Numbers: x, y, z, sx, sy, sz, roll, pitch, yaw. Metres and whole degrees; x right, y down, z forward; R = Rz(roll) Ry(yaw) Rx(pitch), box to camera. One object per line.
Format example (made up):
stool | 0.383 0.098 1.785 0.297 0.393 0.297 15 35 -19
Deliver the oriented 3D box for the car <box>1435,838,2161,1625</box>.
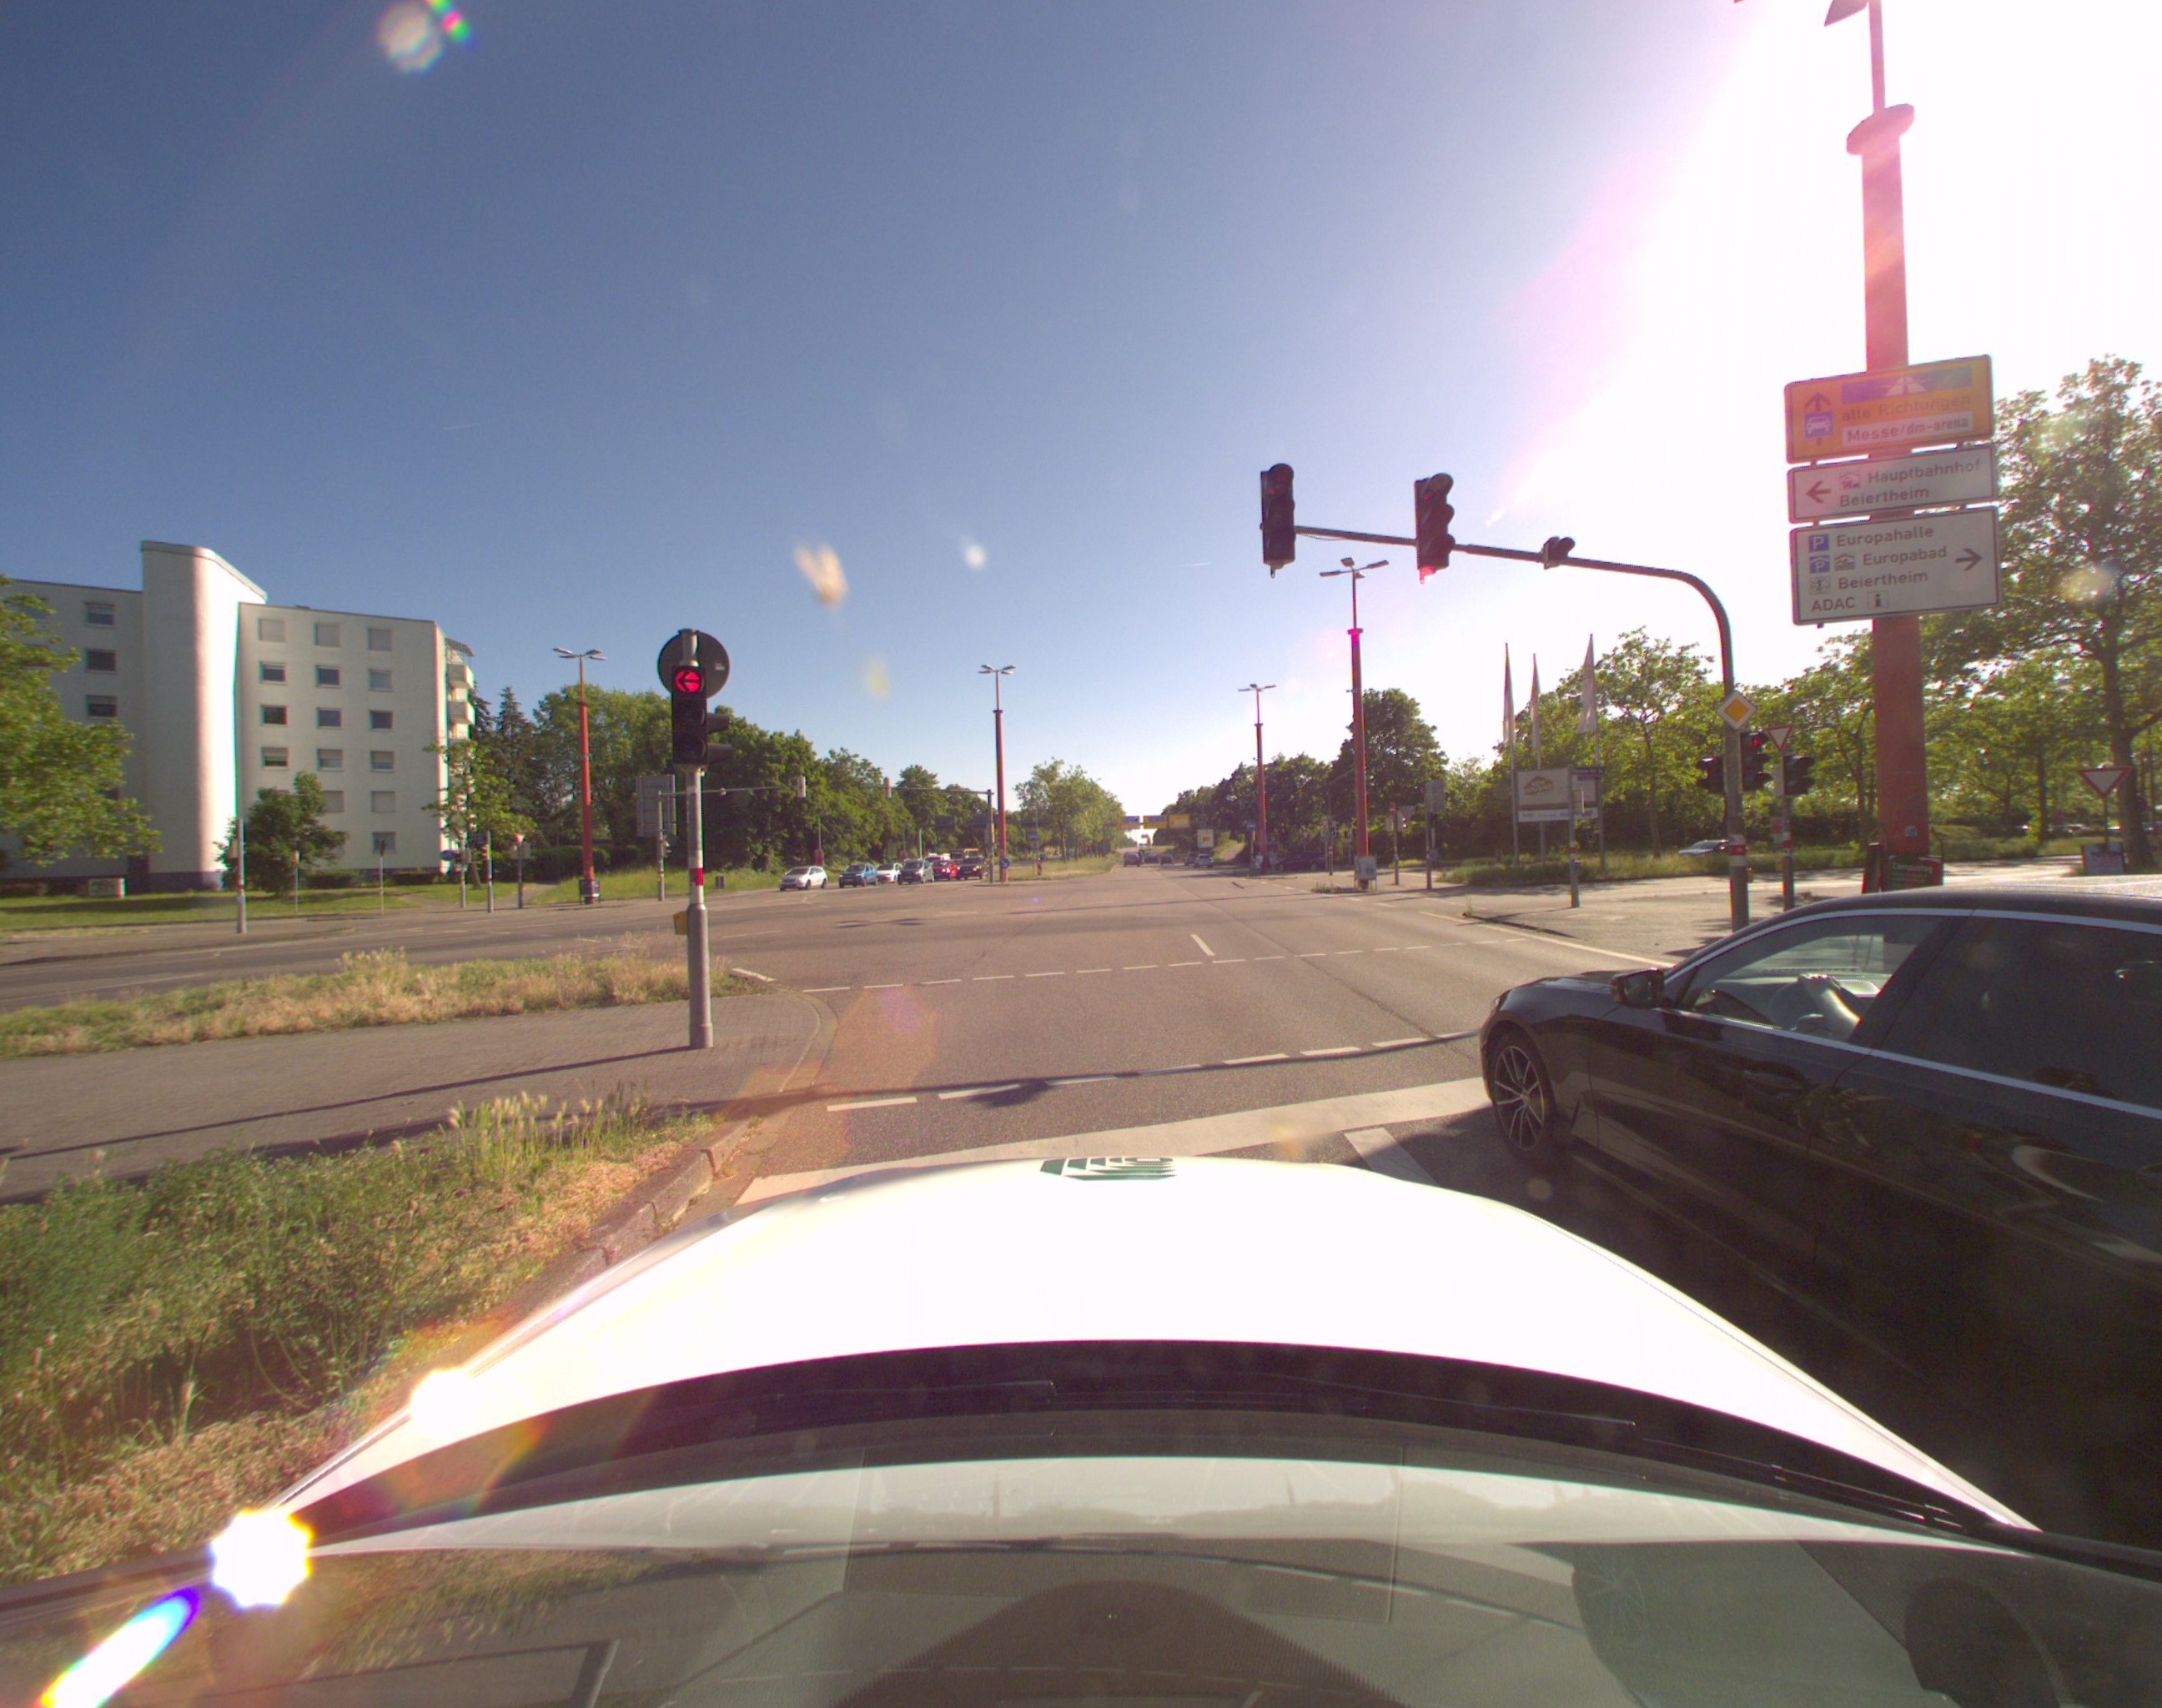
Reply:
car | 2.957 0.668 2.376 1.986 1.394 4.479 -2 0 2

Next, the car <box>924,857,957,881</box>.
car | -10.102 1.047 58.874 1.991 1.573 4.112 -2 0 -6

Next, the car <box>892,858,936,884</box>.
car | -10.731 1.047 52.583 1.988 1.573 4.119 -2 0 -1

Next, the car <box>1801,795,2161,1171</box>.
car | 5.803 0.563 3.265 1.959 1.686 4.479 -1 0 2

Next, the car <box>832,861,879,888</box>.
car | -14.235 1.285 51.643 1.989 1.573 4.116 -2 0 -3

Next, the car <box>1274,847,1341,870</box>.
car | 16.770 0.371 60.410 2.179 1.573 4.227 -2 0 -45

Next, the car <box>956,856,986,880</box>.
car | -7.564 0.955 56.492 1.874 1.573 4.112 -2 0 -6

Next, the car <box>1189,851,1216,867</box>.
car | 12.920 0.528 86.892 2.153 1.573 4.277 -2 0 -2

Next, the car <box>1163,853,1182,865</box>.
car | 12.281 0.688 109.325 1.948 1.442 4.277 -2 0 -2

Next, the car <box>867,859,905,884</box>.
car | -13.737 1.217 57.525 1.991 1.573 4.112 -3 0 -6

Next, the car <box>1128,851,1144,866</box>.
car | 7.666 0.616 113.088 1.986 2.013 4.002 -2 0 2

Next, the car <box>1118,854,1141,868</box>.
car | 5.631 0.789 95.484 2.241 1.573 4.276 -2 0 -3

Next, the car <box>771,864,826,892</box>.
car | -17.692 1.468 51.183 1.987 1.573 4.120 -2 0 0

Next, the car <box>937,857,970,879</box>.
car | -10.065 1.093 64.656 1.988 1.573 4.118 -2 0 -1

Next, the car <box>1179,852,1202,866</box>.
car | 13.365 0.585 99.554 2.153 1.573 4.277 -2 0 -2

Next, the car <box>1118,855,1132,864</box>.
car | 8.133 0.919 149.718 2.153 1.573 4.277 -2 0 -2

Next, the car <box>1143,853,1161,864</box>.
car | 11.040 0.691 126.804 2.153 1.573 4.277 -2 0 -2

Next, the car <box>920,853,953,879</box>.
car | -12.734 1.053 71.988 2.055 2.193 4.377 -2 0 0

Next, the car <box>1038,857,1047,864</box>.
car | -9.086 1.422 193.370 1.987 1.573 4.120 -2 0 0
